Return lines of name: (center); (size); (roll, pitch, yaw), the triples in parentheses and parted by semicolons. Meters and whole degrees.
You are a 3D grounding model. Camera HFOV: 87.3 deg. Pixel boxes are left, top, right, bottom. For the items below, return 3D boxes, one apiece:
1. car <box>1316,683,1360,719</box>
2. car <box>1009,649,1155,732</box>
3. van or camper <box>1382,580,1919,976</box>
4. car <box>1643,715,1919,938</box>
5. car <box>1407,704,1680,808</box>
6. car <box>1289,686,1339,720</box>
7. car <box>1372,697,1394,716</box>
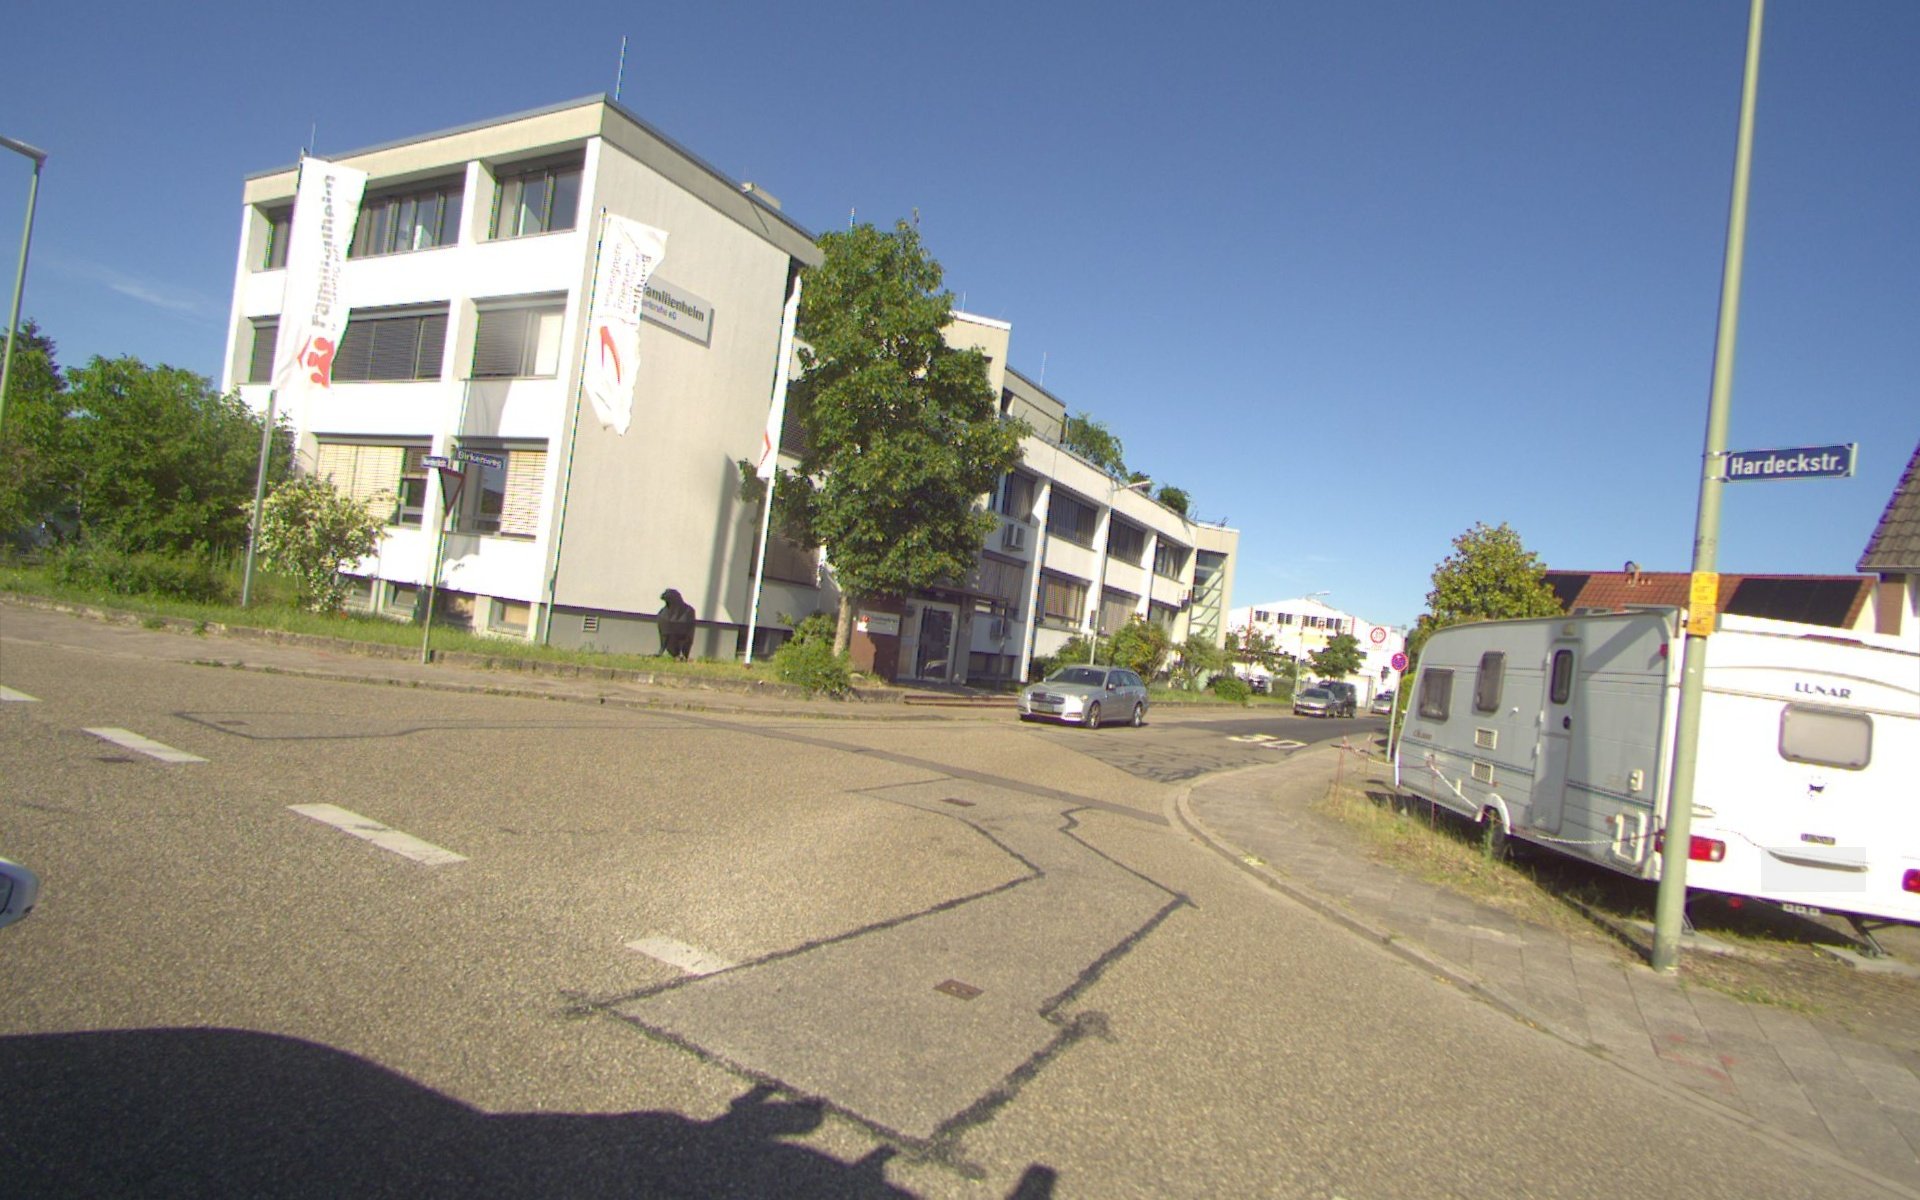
car: (21.430, 5.715, 56.950); (1.623, 1.737, 3.745); (7, -2, 30)
car: (3.102, 2.234, 24.644); (1.770, 1.636, 4.520); (6, -2, 30)
van or camper: (6.471, 1.409, 10.039); (2.246, 2.570, 5.839); (7, -2, 5)
car: (9.248, 2.260, 10.447); (1.776, 1.636, 4.005); (7, -2, 7)
car: (11.729, 3.079, 20.467); (4.556, 1.454, 1.718); (3, -3, 32)
car: (17.996, 5.245, 51.060); (1.623, 1.429, 3.745); (7, -2, 30)
car: (32.549, 8.189, 77.355); (1.227, 1.204, 2.678); (7, -2, 27)
